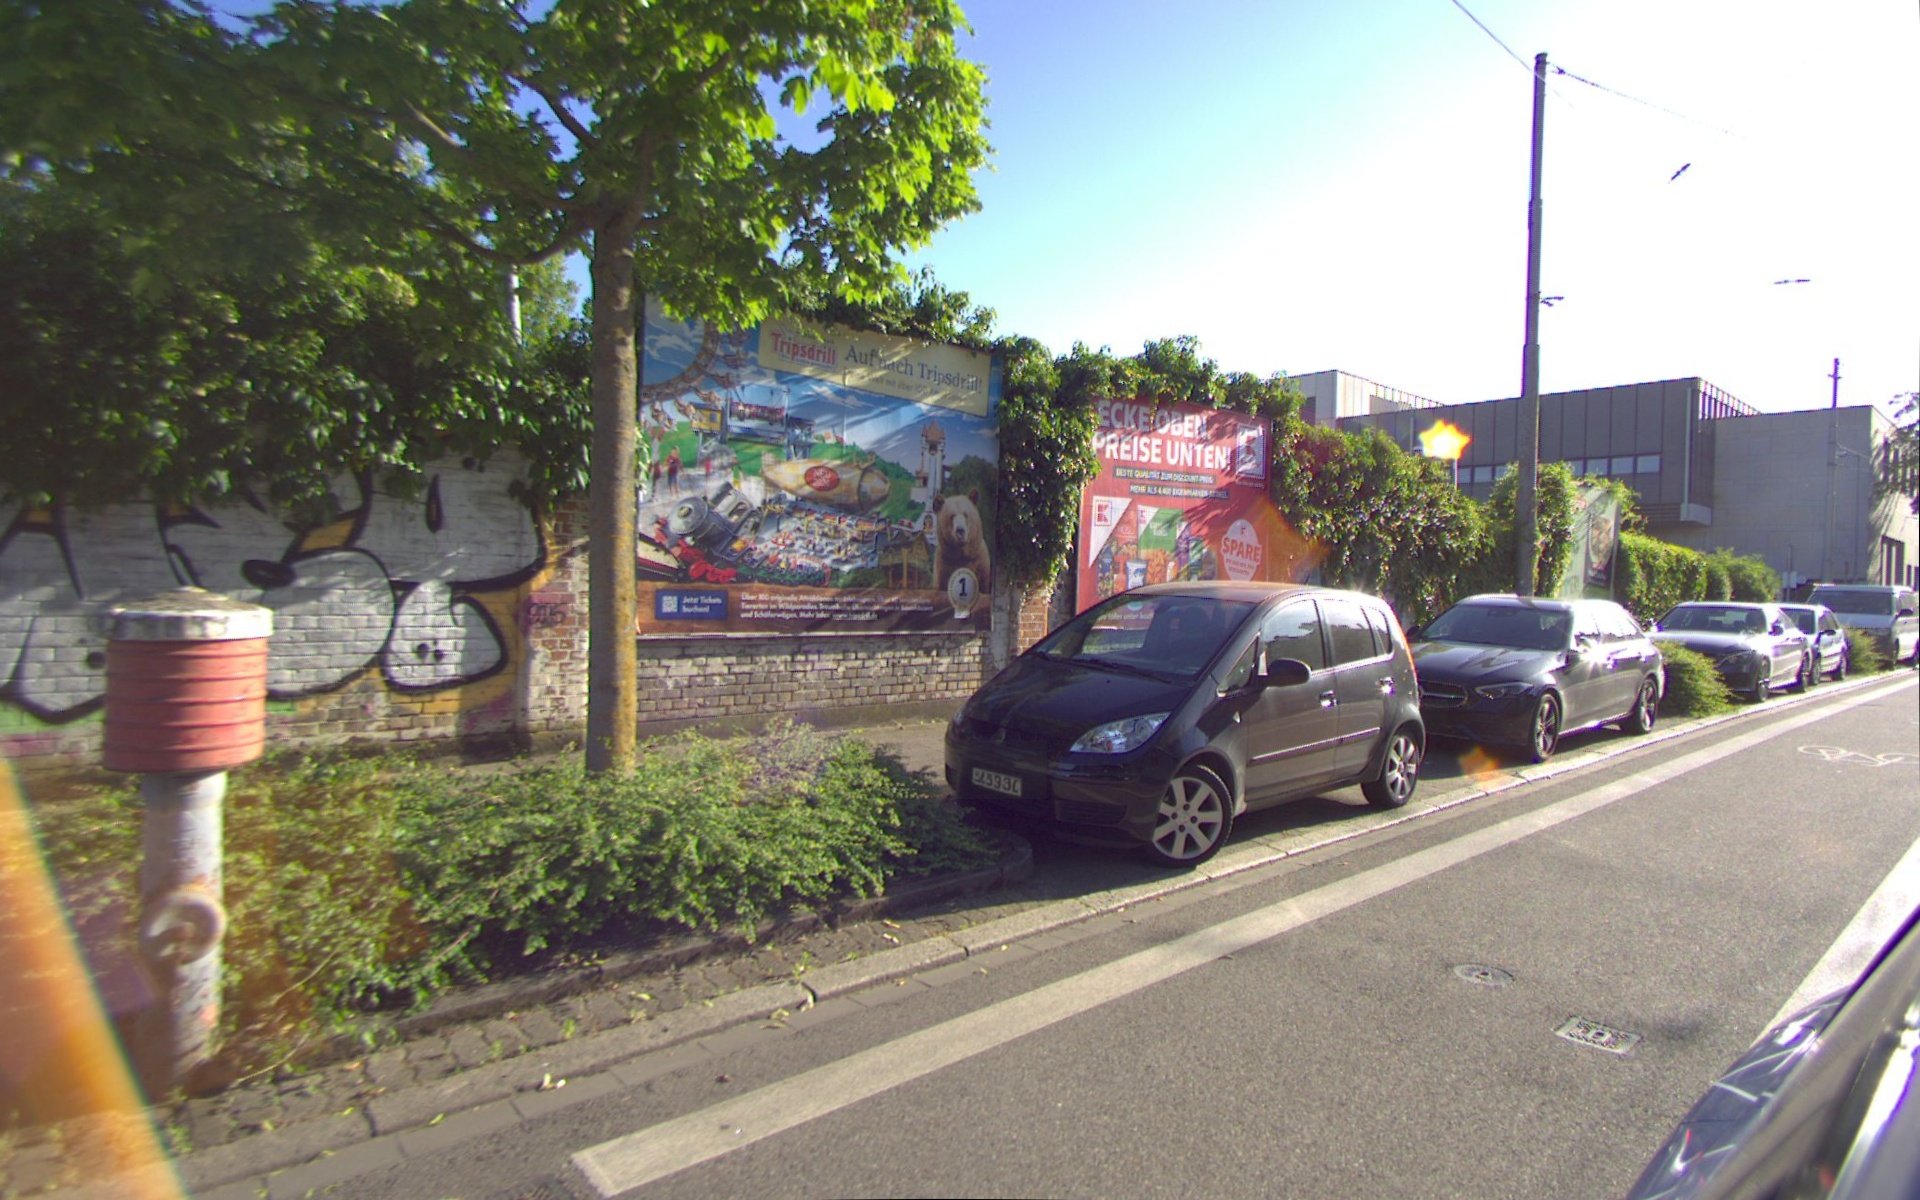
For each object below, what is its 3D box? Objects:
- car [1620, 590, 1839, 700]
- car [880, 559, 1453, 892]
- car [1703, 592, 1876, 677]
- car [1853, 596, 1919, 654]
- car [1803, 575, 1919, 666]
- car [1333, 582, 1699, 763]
[{"bbox_3d":[12.356,0.603,16.145,4.519,1.503,1.828,0,1,-40],"label":"car"},{"bbox_3d":[1.527,0.552,6.704,3.750,1.511,1.827,0,4,-43],"label":"car"},{"bbox_3d":[16.373,0.598,19.921,4.001,1.491,1.877,0,1,-39],"label":"car"},{"bbox_3d":[26.666,0.672,28.561,4.426,1.435,1.679,0,3,-43],"label":"car"},{"bbox_3d":[22.678,0.420,24.981,5.147,2.016,1.859,0,2,-39],"label":"car"},{"bbox_3d":[5.955,0.579,10.590,4.560,1.470,1.828,0,2,-40],"label":"car"}]
